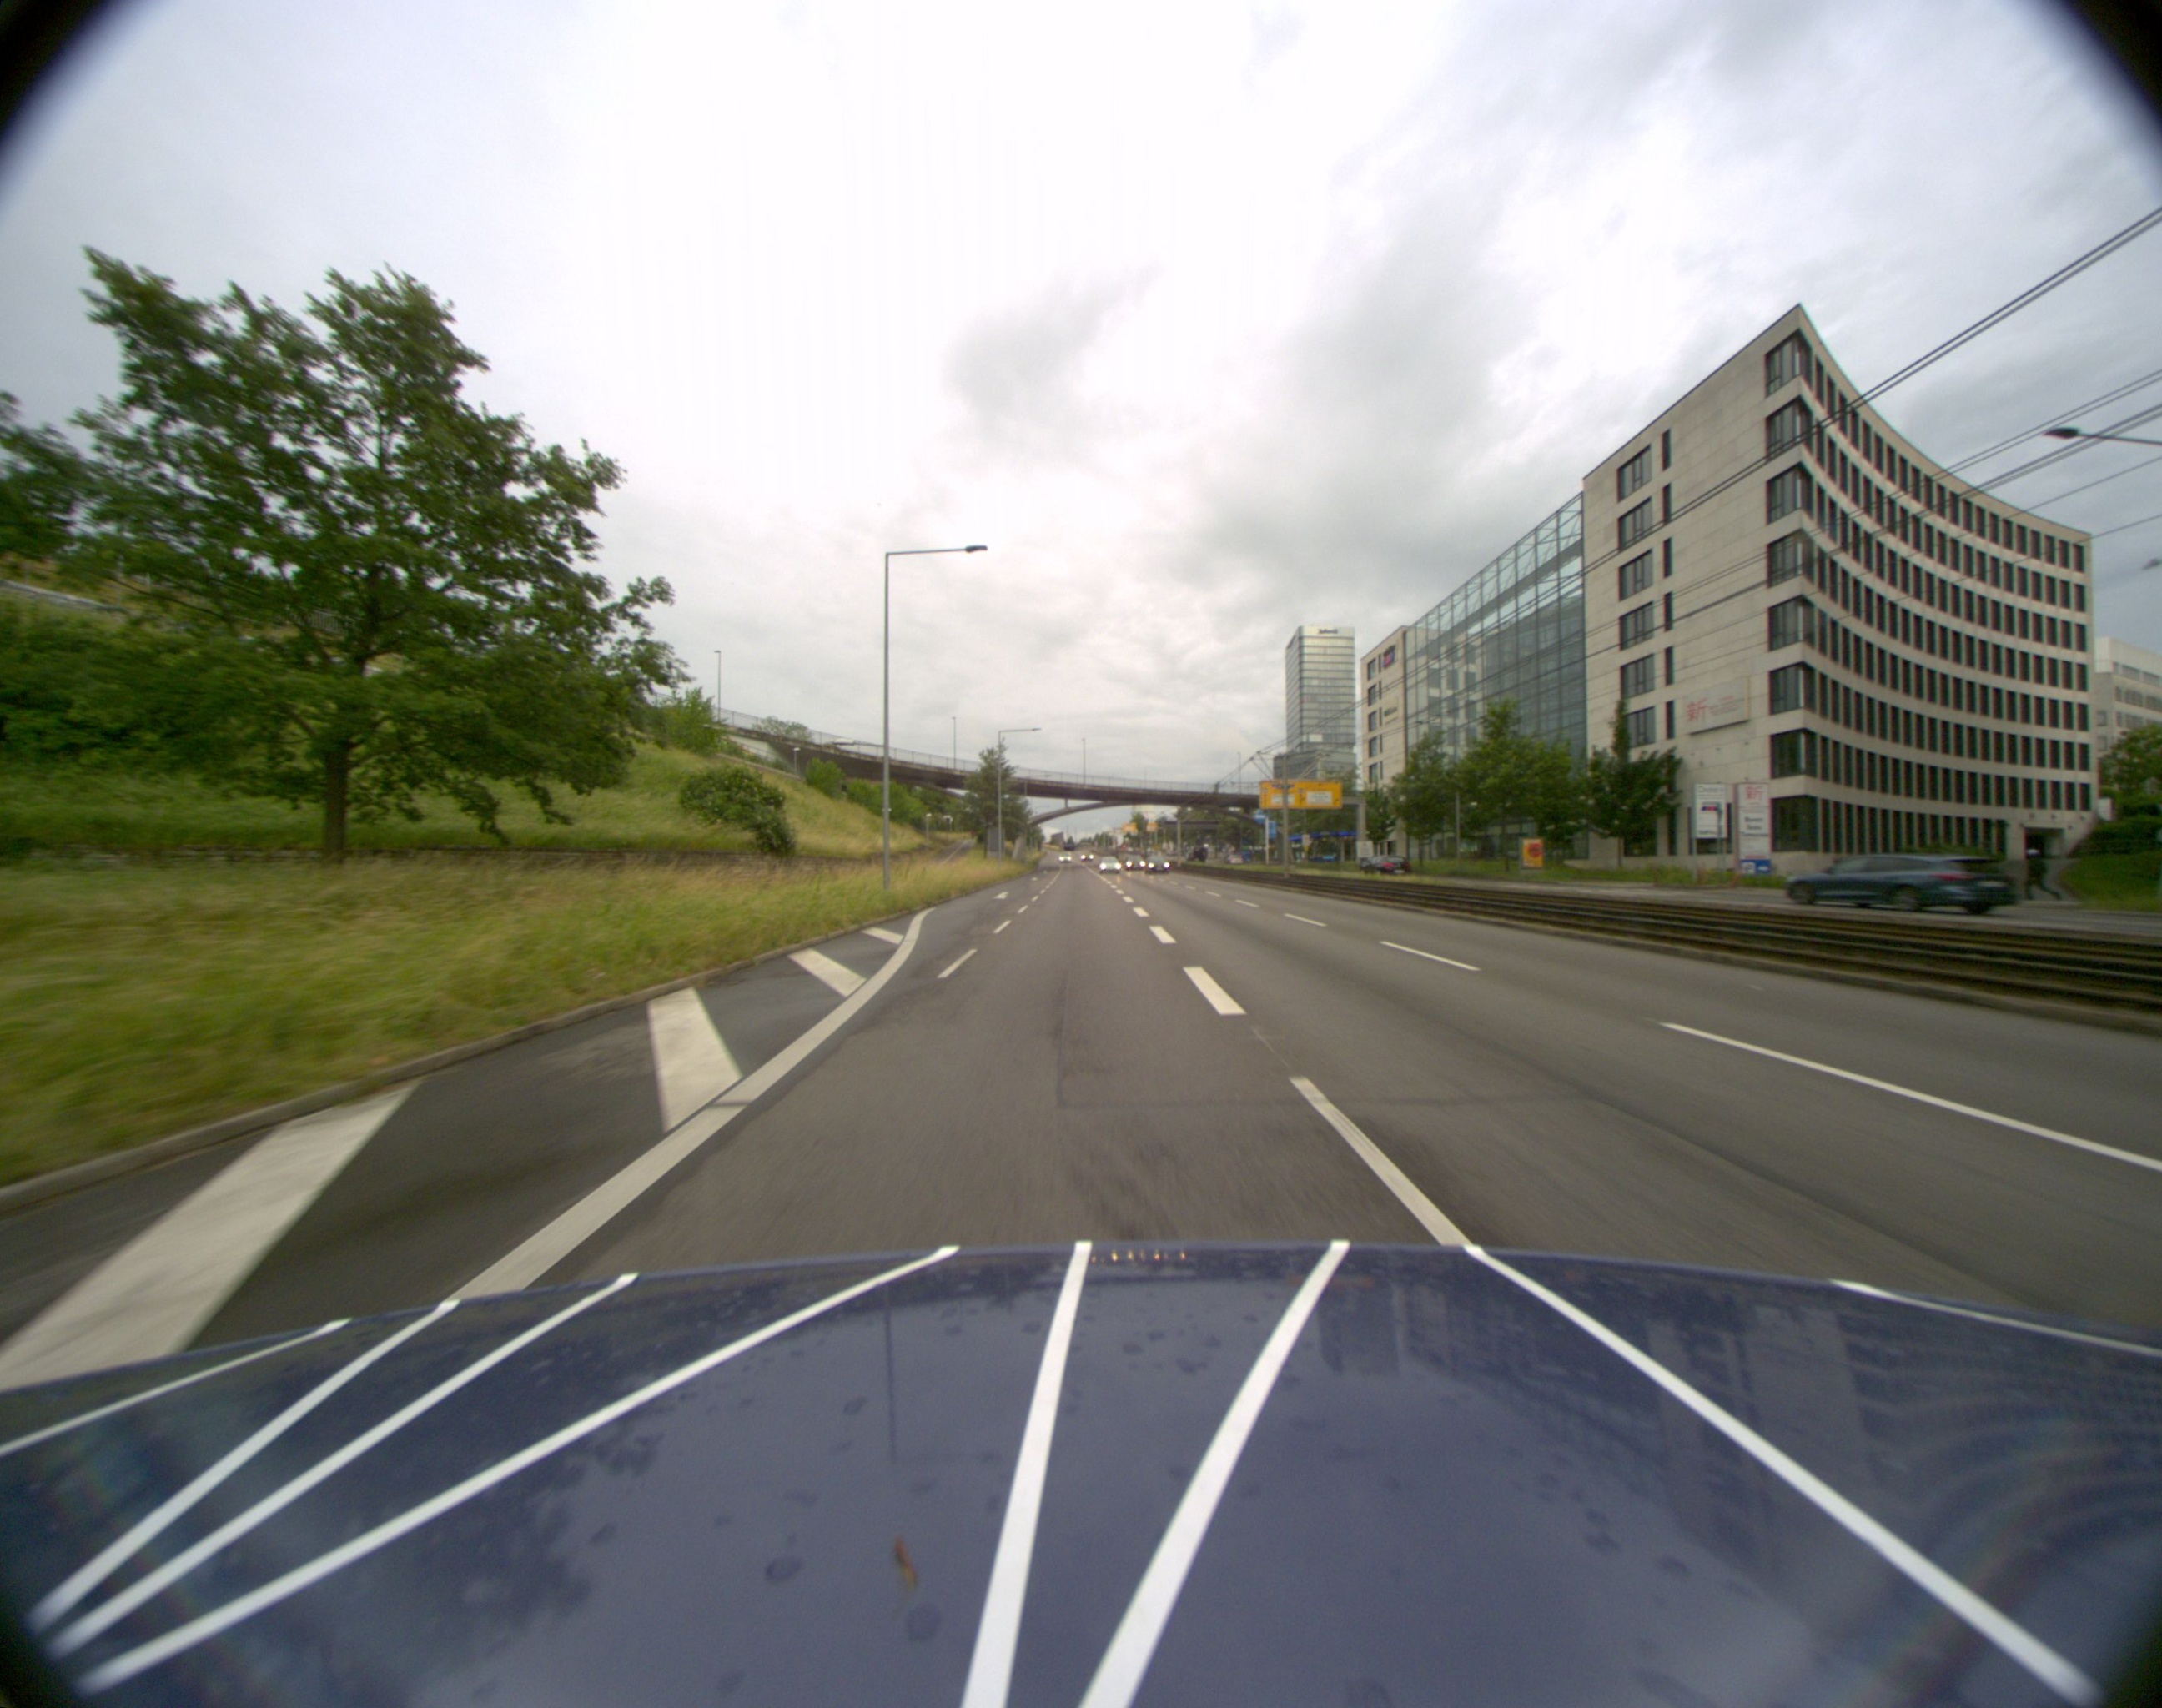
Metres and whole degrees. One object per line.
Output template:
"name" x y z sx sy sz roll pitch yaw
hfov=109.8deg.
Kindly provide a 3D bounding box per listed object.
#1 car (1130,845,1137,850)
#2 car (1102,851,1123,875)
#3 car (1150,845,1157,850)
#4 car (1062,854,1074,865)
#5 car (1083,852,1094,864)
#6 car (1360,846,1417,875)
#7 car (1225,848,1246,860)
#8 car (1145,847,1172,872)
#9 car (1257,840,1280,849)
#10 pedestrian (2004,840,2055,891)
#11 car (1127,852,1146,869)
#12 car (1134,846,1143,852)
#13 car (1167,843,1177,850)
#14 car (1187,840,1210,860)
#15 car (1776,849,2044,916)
"car" 16.079 -1.987 231.885 1.768 1.588 4.791 -2 0 0
"car" 2.837 0.777 69.005 1.794 1.858 4.376 -2 2 1
"car" 22.614 -2.152 237.215 1.925 1.488 4.656 2 0 1
"car" -2.151 0.837 127.651 1.794 1.622 4.376 -2 2 1
"car" 1.294 0.620 132.089 1.794 1.858 4.376 -2 2 1
"car" 18.064 0.332 44.803 1.776 1.493 4.199 -2 2 2
"car" 21.337 -0.052 105.027 1.764 1.524 4.816 -2 0 -1
"car" 6.397 0.419 63.018 1.794 1.858 4.376 -2 2 1
"car" 39.307 -1.985 159.121 4.363 1.495 1.885 -2 2 3
"pedestrian" 31.109 0.366 24.933 0.643 1.622 0.831 -2 2 -2
"car" 5.799 0.697 79.685 1.794 1.536 4.376 -2 2 1
"car" 15.958 -1.377 211.329 1.815 1.524 4.867 -2 0 -3
"car" 22.515 -1.852 188.366 1.814 1.524 4.274 -2 0 -1
"car" 17.683 -0.611 114.658 2.390 2.801 5.610 -2 1 -1
"car" 21.055 0.648 19.677 1.845 1.477 4.653 2 0 1
